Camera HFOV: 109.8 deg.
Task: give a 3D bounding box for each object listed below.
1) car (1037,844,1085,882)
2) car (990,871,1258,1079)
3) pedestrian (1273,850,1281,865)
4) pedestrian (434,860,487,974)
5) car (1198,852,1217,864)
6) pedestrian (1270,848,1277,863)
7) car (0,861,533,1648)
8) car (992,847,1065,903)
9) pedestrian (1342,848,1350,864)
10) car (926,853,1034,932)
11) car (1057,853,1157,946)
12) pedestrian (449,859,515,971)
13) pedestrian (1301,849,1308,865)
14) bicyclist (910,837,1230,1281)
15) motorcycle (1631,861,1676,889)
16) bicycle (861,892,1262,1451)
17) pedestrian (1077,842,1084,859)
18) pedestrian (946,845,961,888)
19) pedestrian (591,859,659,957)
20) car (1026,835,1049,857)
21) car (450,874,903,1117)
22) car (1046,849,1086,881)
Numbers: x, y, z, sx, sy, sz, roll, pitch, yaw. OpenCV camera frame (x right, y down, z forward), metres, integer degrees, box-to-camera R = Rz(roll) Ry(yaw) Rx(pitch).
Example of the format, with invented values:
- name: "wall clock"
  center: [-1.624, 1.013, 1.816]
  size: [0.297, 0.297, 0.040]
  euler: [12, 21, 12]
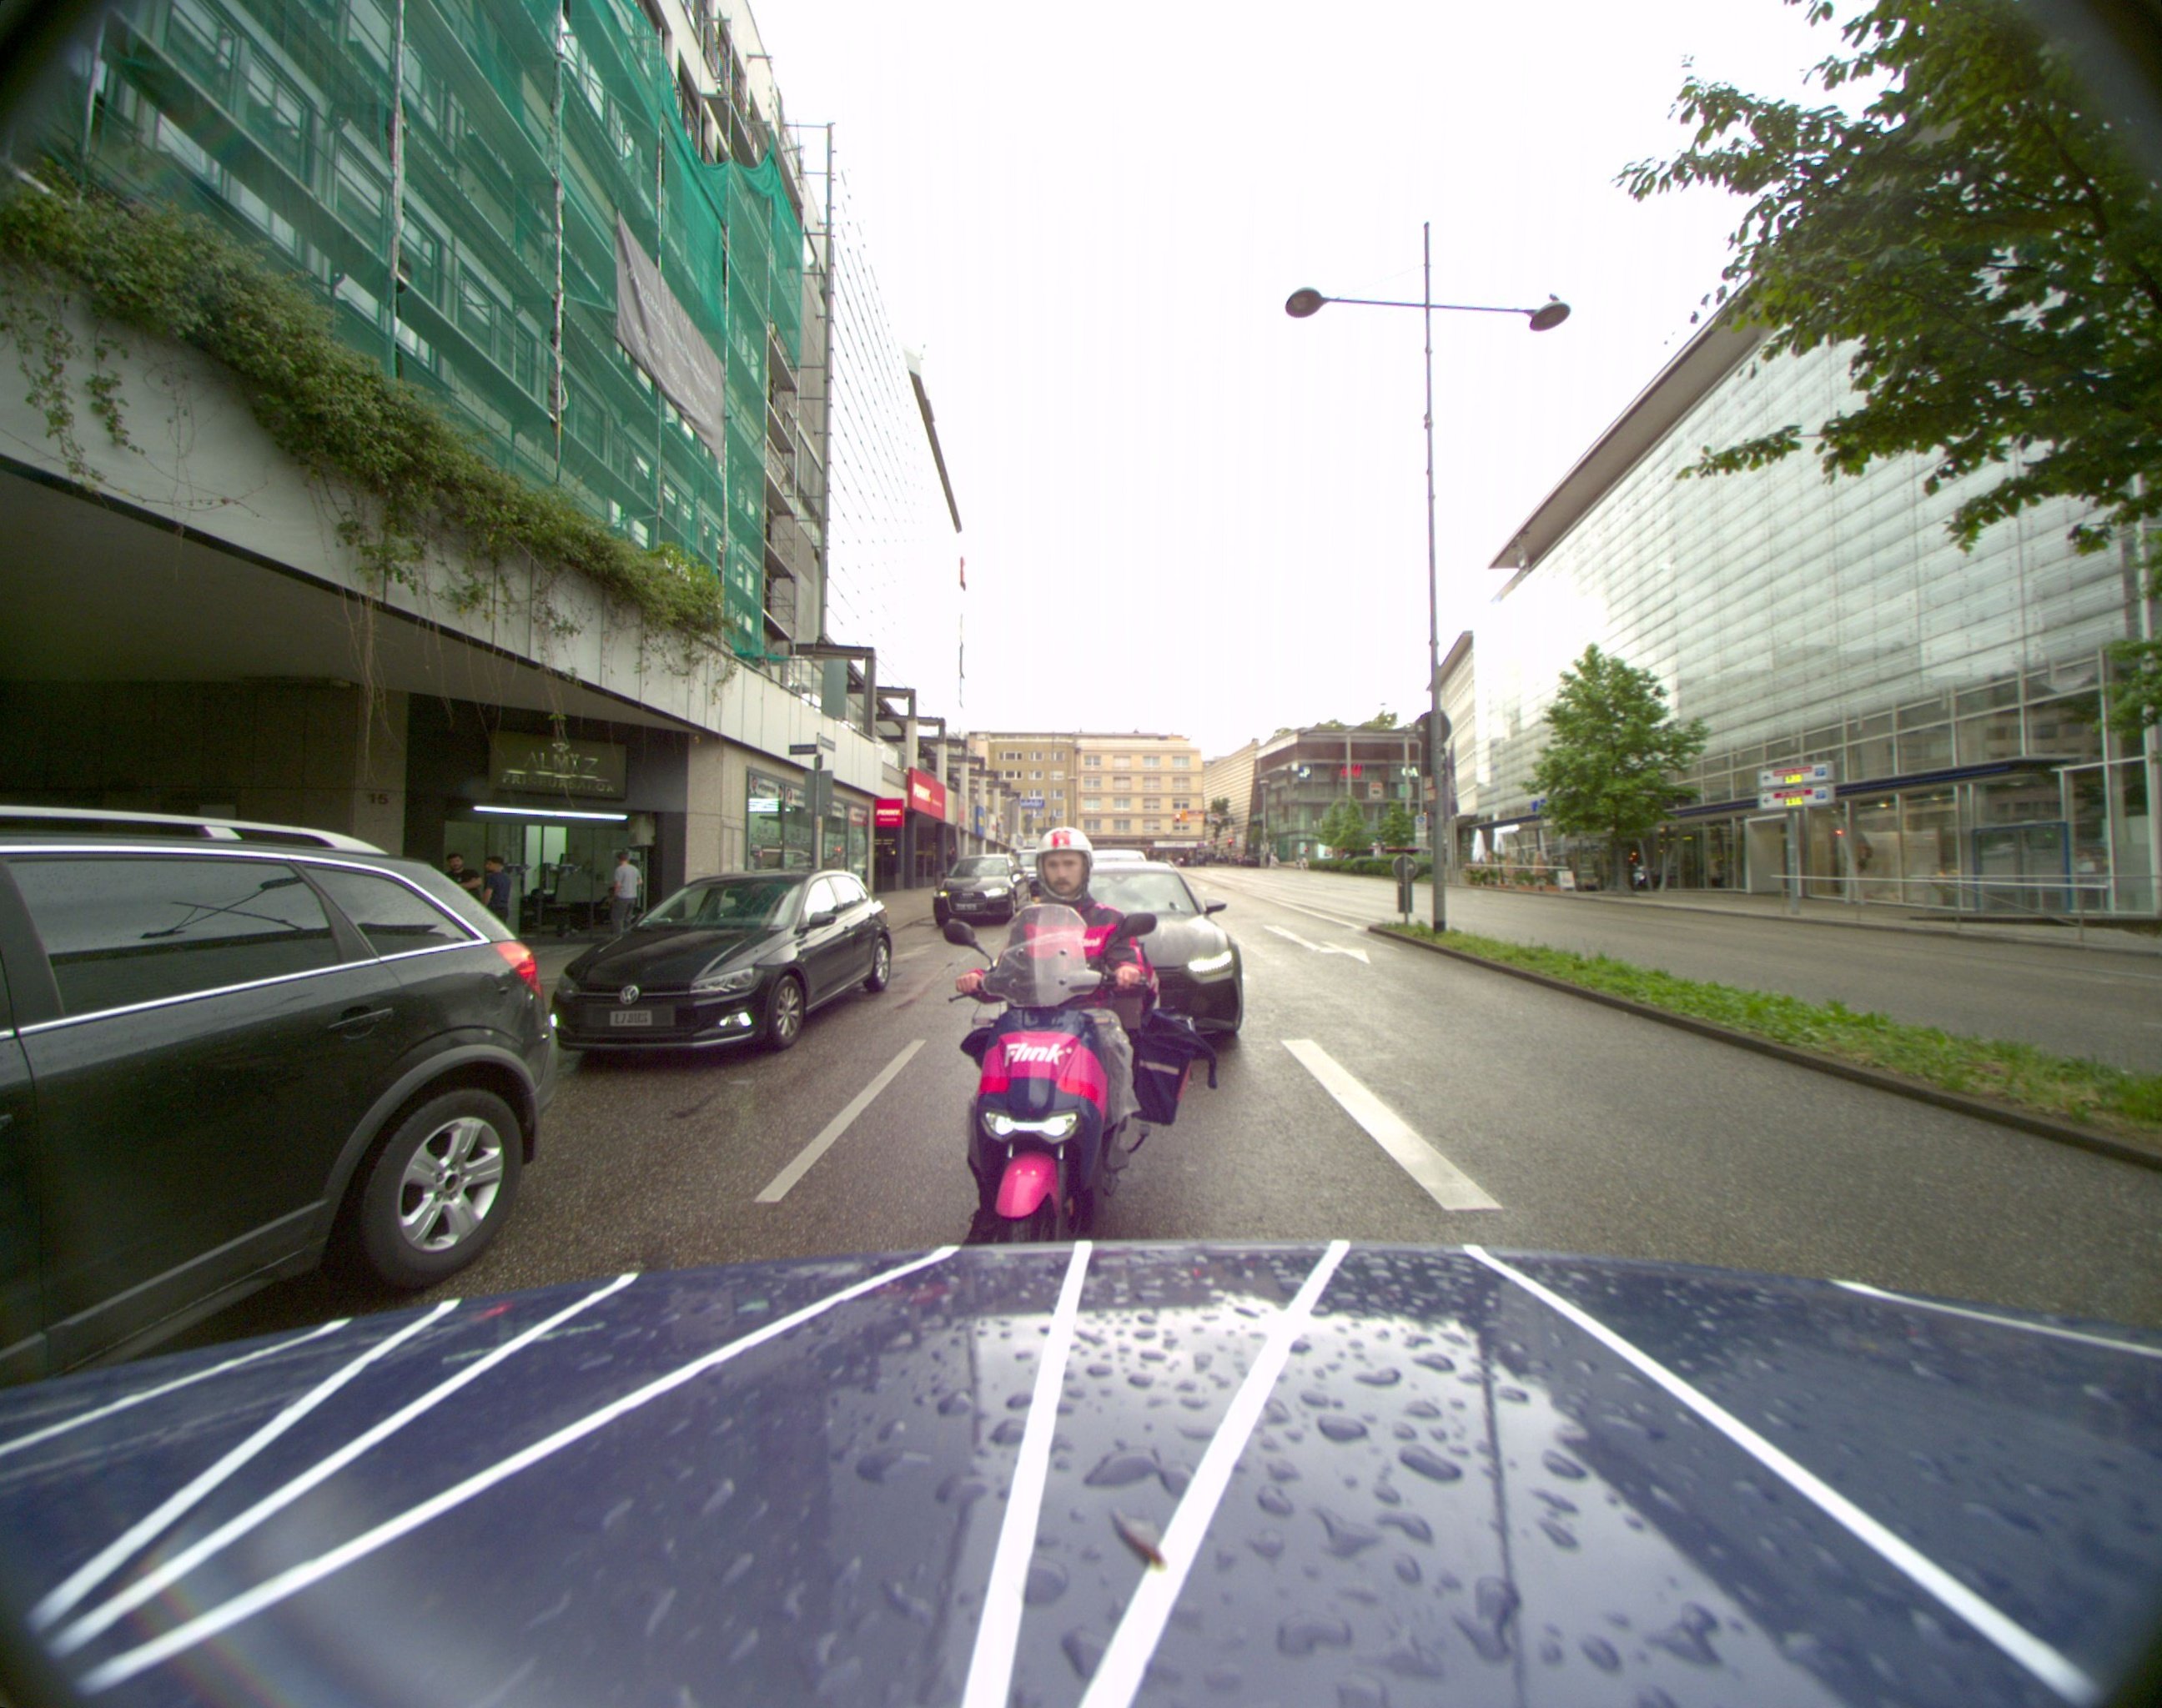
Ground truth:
- name: "car"
  center: [-0.922, 0.422, 37.283]
  size: [1.988, 1.696, 4.165]
  euler: [-2, -1, 2]
- name: "car"
  center: [0.395, 0.926, 7.564]
  size: [1.890, 1.391, 4.165]
  euler: [-2, -1, 2]
- name: "pedestrian"
  center: [20.950, 0.372, 81.253]
  size: [0.633, 1.620, 0.602]
  euler: [1, 1, 4]
- name: "pedestrian"
  center: [-9.570, 0.952, 11.725]
  size: [0.466, 1.698, 0.484]
  euler: [0, 2, 42]
- name: "car"
  center: [22.574, 0.749, 135.795]
  size: [2.000, 2.002, 4.584]
  euler: [0, 1, -7]
- name: "pedestrian"
  center: [20.933, 0.212, 82.659]
  size: [0.633, 1.620, 0.602]
  euler: [0, 1, 2]
- name: "car"
  center: [-3.326, 0.917, 1.230]
  size: [1.764, 1.755, 4.164]
  euler: [-2, 0, 1]
- name: "car"
  center: [-1.717, 0.679, 26.131]
  size: [1.988, 1.696, 4.165]
  euler: [-2, -1, 2]
- name: "pedestrian"
  center: [29.042, 0.246, 83.233]
  size: [0.626, 1.764, 0.689]
  euler: [-2, 2, 5]
- name: "car"
  center: [-2.302, 0.816, 18.375]
  size: [1.841, 1.598, 4.164]
  euler: [-2, 1, 2]
- name: "car"
  center: [0.533, 0.788, 15.160]
  size: [1.675, 1.520, 4.164]
  euler: [-2, 1, 2]
- name: "pedestrian"
  center: [-8.910, 0.883, 11.328]
  size: [0.640, 1.586, 0.576]
  euler: [-3, 2, -32]
- name: "pedestrian"
  center: [25.050, 0.375, 85.156]
  size: [0.626, 1.764, 0.689]
  euler: [-2, 2, 7]
- name: "bicyclist"
  center: [-0.030, 0.716, 3.067]
  size: [1.063, 1.534, 0.825]
  euler: [-2, 2, 0]
- name: "motorcycle"
  center: [28.058, 1.029, 37.244]
  size: [1.707, 1.319, 0.620]
  euler: [0, 1, 1]
- name: "bicycle"
  center: [-0.033, 0.933, 3.511]
  size: [1.034, 1.279, 2.948]
  euler: [-2, 1, 1]
- name: "pedestrian"
  center: [-0.050, -0.359, 73.570]
  size: [0.634, 1.620, 0.602]
  euler: [0, 1, -1]
- name: "pedestrian"
  center: [-5.086, 0.499, 30.272]
  size: [0.510, 1.669, 0.579]
  euler: [0, 2, 0]
- name: "pedestrian"
  center: [-7.923, 0.914, 13.206]
  size: [0.732, 1.633, 0.640]
  euler: [-1, 2, 25]
- name: "car"
  center: [-4.178, -0.803, 73.518]
  size: [1.605, 2.002, 3.400]
  euler: [-2, 1, 7]
- name: "car"
  center: [-3.186, 1.002, 7.117]
  size: [1.758, 1.495, 4.165]
  euler: [-2, -1, 4]
- name: "car"
  center: [-0.818, 0.609, 43.394]
  size: [1.988, 1.696, 4.165]
  euler: [-2, -1, 2]
